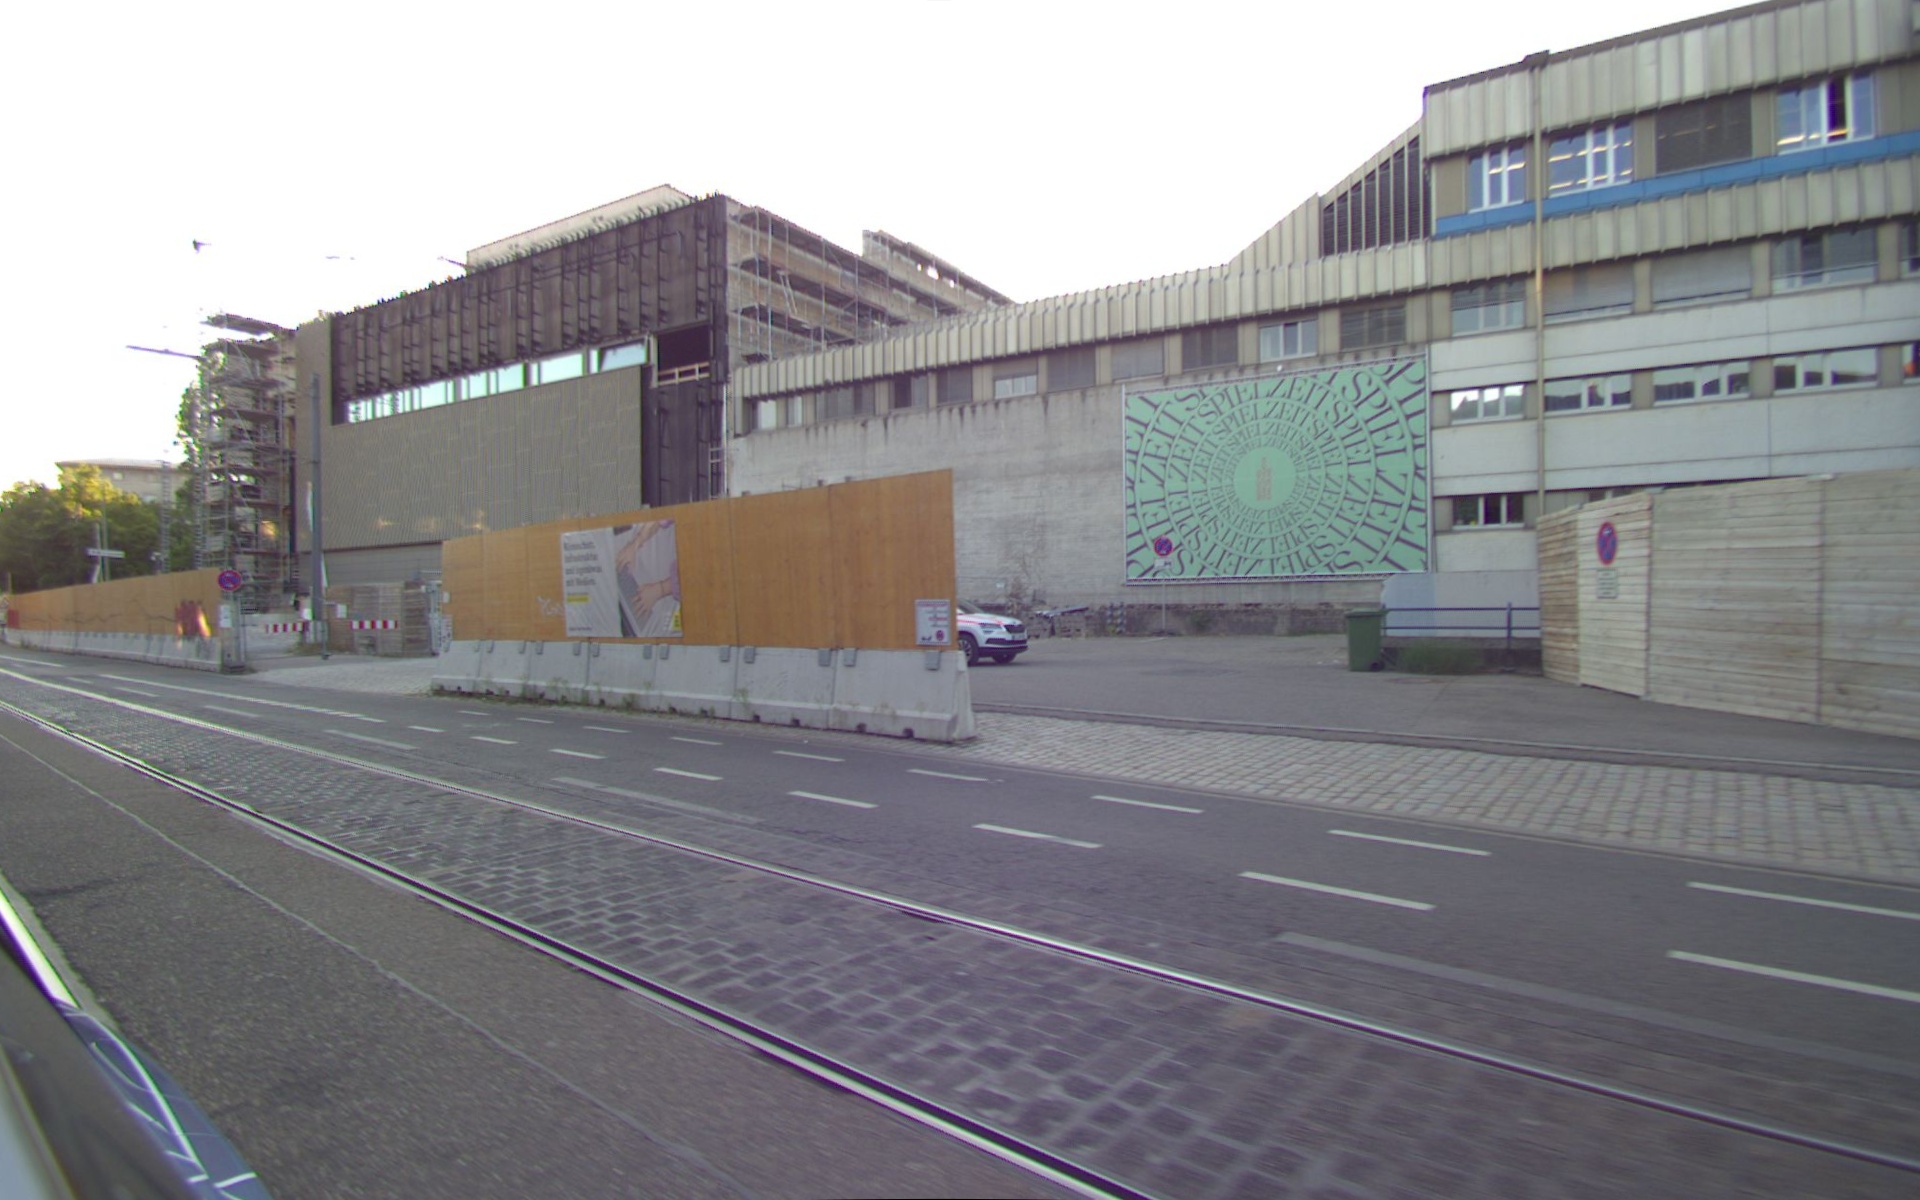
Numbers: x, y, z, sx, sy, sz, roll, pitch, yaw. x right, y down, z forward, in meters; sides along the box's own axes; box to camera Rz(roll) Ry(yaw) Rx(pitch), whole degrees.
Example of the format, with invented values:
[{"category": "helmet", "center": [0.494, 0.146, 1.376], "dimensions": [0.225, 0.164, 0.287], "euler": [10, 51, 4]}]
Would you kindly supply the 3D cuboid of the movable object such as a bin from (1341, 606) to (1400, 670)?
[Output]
[{"category": "movable object such as a bin", "center": [6.988, 0.638, 17.223], "dimensions": [0.760, 1.043, 0.832], "euler": [-1, 0, 33]}]
